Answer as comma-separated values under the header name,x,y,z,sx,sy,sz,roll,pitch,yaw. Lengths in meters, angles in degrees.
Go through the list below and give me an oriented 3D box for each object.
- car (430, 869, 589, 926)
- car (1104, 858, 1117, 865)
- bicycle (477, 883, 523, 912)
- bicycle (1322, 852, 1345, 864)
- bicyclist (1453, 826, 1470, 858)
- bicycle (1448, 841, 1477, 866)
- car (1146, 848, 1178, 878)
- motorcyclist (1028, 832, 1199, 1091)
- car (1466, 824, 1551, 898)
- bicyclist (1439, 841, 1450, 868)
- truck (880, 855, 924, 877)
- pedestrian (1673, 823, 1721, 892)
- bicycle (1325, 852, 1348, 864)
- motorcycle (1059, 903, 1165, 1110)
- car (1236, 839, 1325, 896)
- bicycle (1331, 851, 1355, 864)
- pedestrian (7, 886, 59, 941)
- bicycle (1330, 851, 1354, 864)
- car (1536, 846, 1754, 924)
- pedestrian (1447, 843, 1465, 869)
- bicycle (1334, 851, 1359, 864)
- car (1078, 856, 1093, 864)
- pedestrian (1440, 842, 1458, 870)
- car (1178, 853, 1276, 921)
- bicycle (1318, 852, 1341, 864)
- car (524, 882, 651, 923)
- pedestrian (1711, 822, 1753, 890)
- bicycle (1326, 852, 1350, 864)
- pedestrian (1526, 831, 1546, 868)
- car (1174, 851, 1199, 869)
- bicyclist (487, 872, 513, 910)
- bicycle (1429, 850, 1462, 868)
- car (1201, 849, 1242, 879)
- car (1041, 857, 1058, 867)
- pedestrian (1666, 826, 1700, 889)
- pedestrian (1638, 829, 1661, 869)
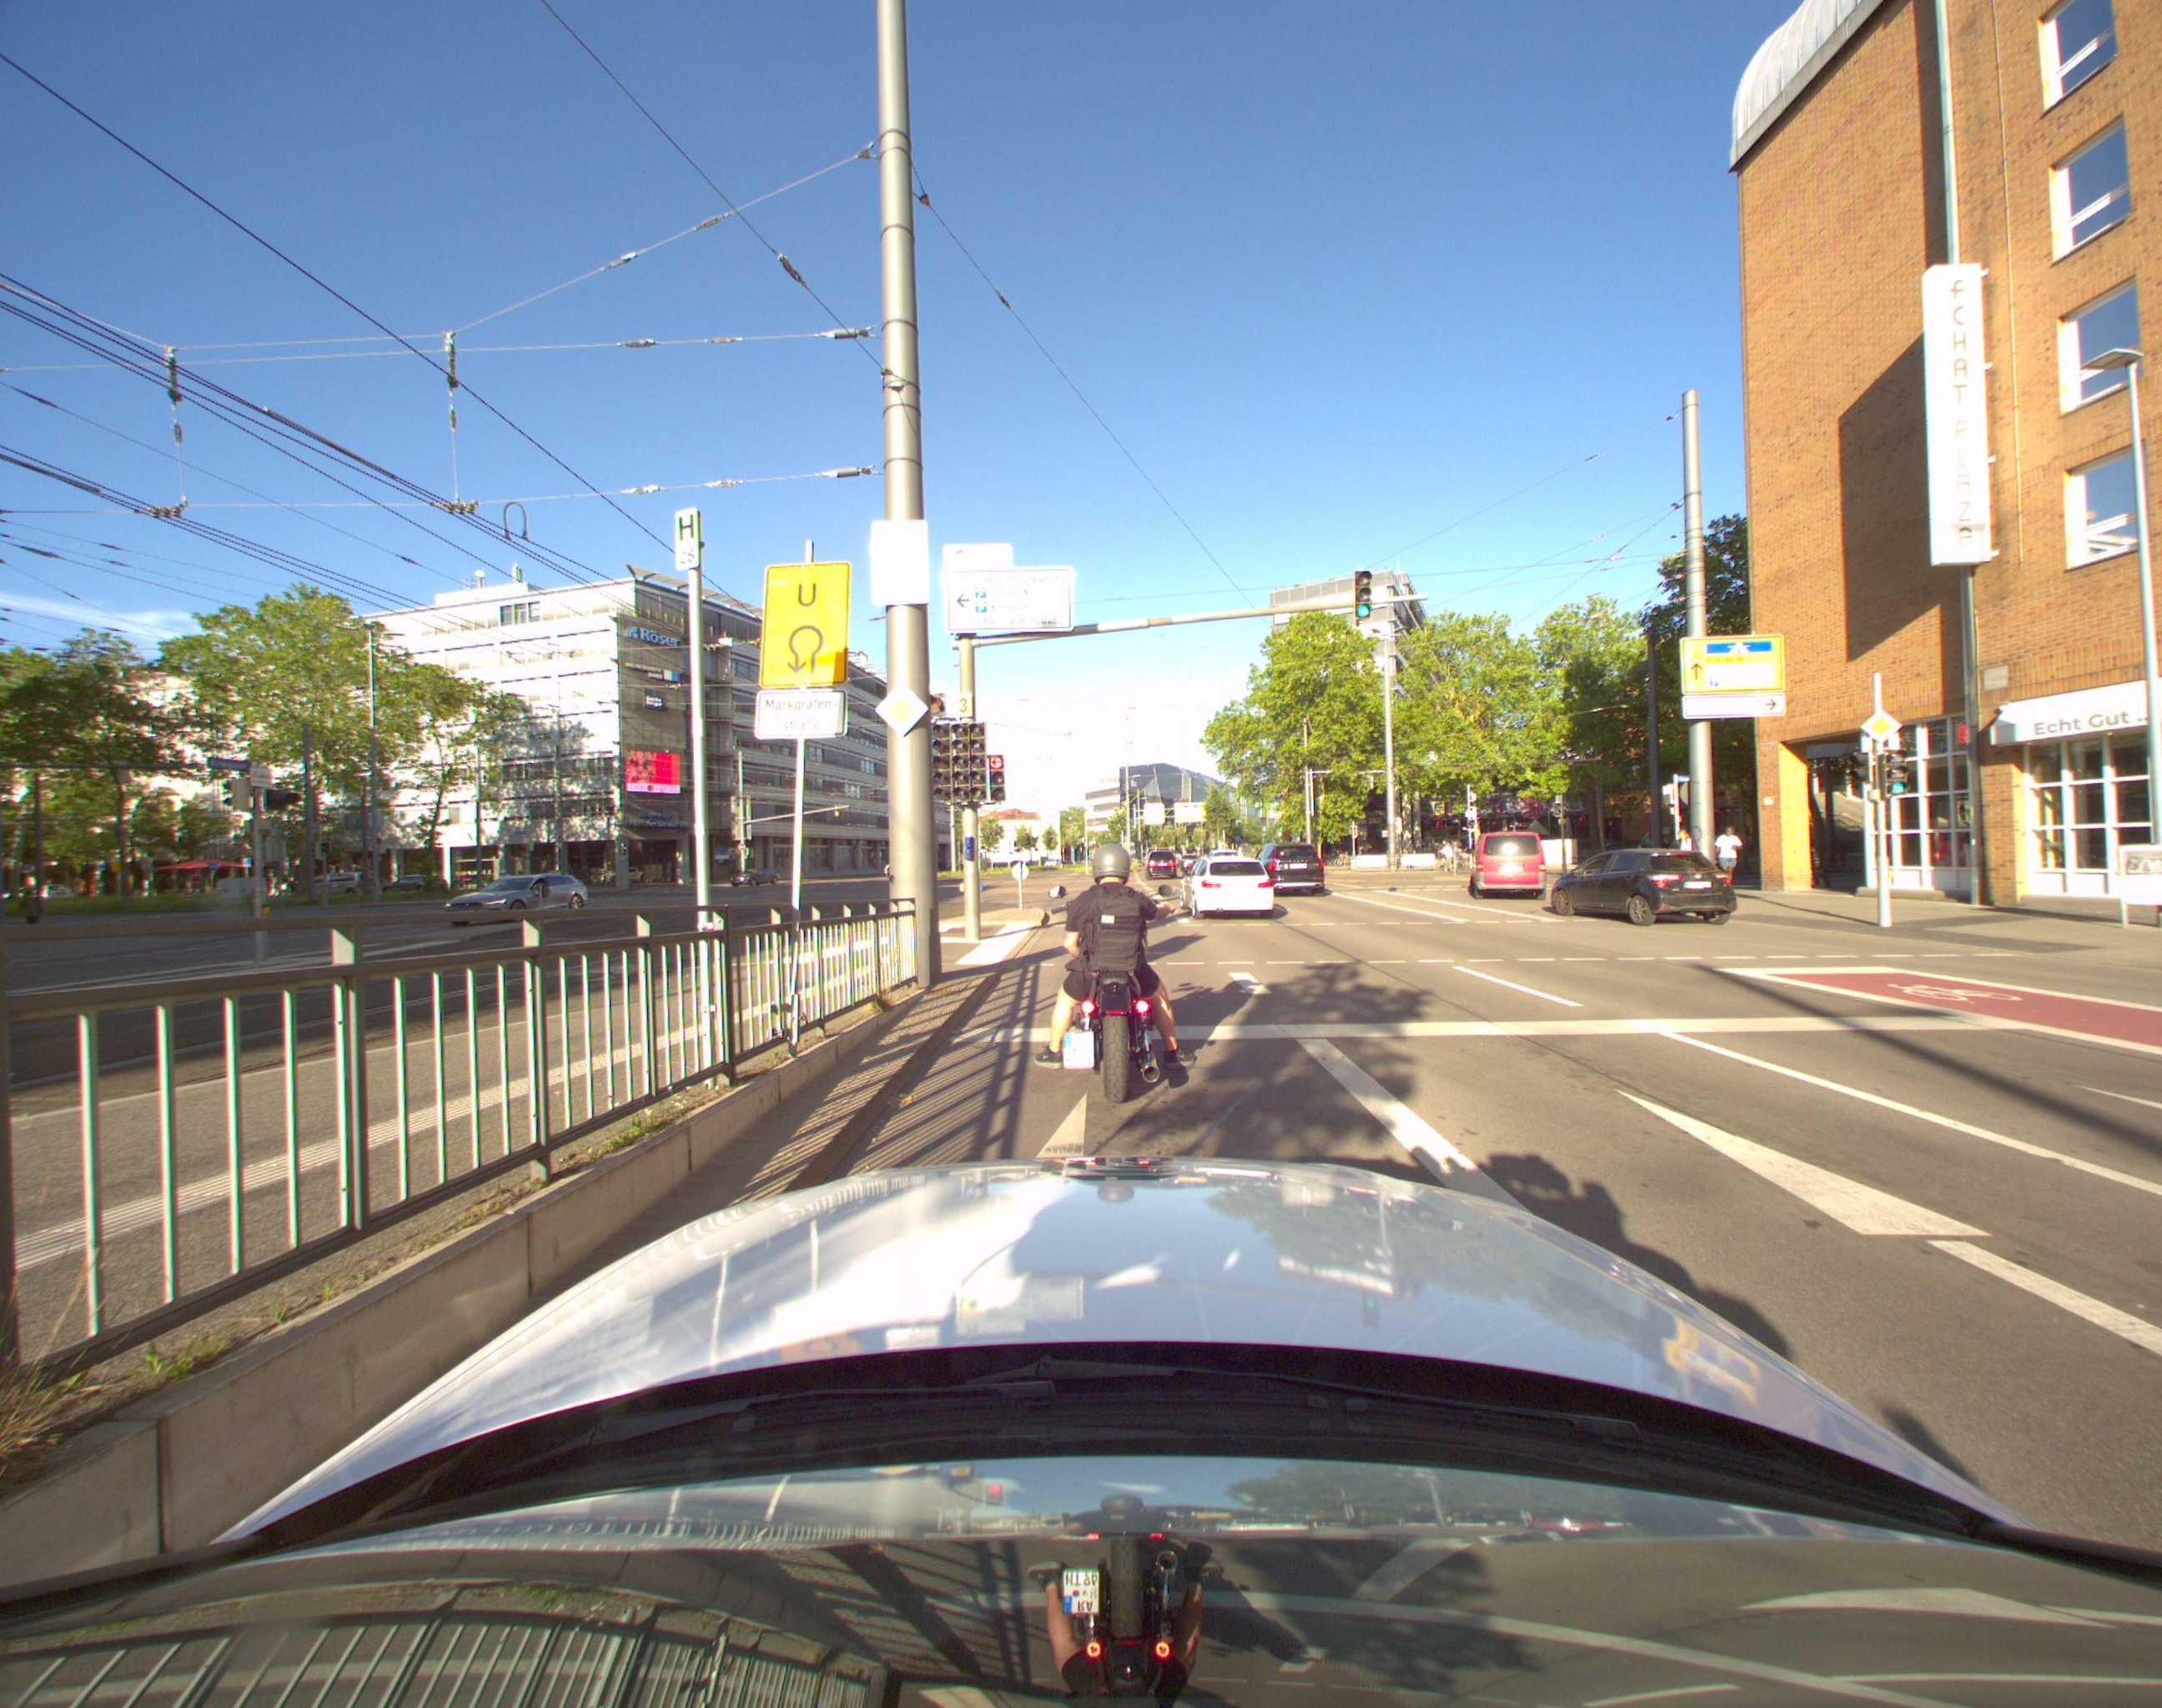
name,x,y,z,sx,sy,sz,roll,pitch,yaw
car,-18.102,1.322,26.120,1.820,1.568,4.690,-2,-1,-2
car,6.104,1.573,168.094,1.736,1.524,4.016,-1,-1,16
bicycle,-23.701,1.772,33.262,0.458,1.090,1.815,-3,-1,2
bicycle,21.483,0.322,69.220,1.874,1.046,0.360,0,0,1
bicyclist,21.812,-0.656,46.678,0.690,1.808,0.733,-1,-1,43
bicycle,21.971,-0.025,46.860,0.719,1.367,2.935,-1,-1,42
car,4.752,0.526,48.312,1.795,1.678,4.046,0,-1,5
motorcyclist,0.217,0.673,5.524,1.027,1.593,0.874,-2,0,1
car,12.929,0.204,24.874,1.787,2.009,4.497,-3,-1,22
bicyclist,25.092,0.017,56.223,0.582,1.837,0.403,0,-1,1
truck,-16.975,1.142,77.458,1.980,1.880,5.173,-4,-1,12
pedestrian,16.561,0.103,21.904,0.591,1.780,0.681,-5,-2,-1
bicycle,21.542,0.322,68.720,1.874,1.046,0.360,0,0,1
motorcycle,0.214,0.942,5.771,0.598,1.036,2.235,0,0,2
car,6.612,0.402,27.442,1.727,1.732,4.608,0,0,-2
bicycle,21.313,0.280,66.232,1.874,1.046,0.360,0,-1,1
pedestrian,-33.490,1.889,26.037,0.587,1.691,0.795,0,-1,2
bicycle,21.475,0.302,67.045,1.874,1.046,0.360,0,-1,1
car,11.617,0.572,17.160,1.727,1.450,4.037,0,0,-2
pedestrian,20.895,0.114,45.355,0.569,1.479,0.696,0,-1,-26
bicycle,21.357,0.258,65.450,1.874,1.046,0.360,0,-1,1
car,0.787,1.086,151.505,1.812,1.430,4.256,-1,-1,13
pedestrian,20.358,0.089,45.090,0.569,1.532,0.696,0,-1,-28
car,3.417,0.738,19.797,1.725,1.457,4.419,0,-1,2
bicycle,21.480,0.328,70.372,1.874,1.046,0.360,0,0,1
car,-13.929,1.351,23.126,2.884,1.063,1.235,0,-1,-19
pedestrian,17.468,0.049,21.868,0.588,1.780,0.684,-3,-1,13
bicycle,21.538,0.328,68.234,1.874,1.046,0.360,0,-1,1
pedestrian,23.292,-0.228,41.677,0.783,1.898,0.821,-1,-1,21
car,9.785,0.567,75.697,1.797,1.678,4.041,0,-1,1
bicyclist,-23.753,1.491,33.319,0.584,1.534,0.650,0,-1,2
bicycle,25.143,0.325,56.212,2.034,1.214,0.421,0,-1,2
car,7.753,0.509,45.143,1.725,1.598,4.043,0,0,2
car,-5.071,1.282,130.164,1.814,1.430,4.541,-2,0,9
pedestrian,17.451,0.116,23.599,0.727,1.792,0.515,-1,-1,42
pedestrian,24.501,-0.197,35.118,0.634,1.700,0.727,-1,-1,21
